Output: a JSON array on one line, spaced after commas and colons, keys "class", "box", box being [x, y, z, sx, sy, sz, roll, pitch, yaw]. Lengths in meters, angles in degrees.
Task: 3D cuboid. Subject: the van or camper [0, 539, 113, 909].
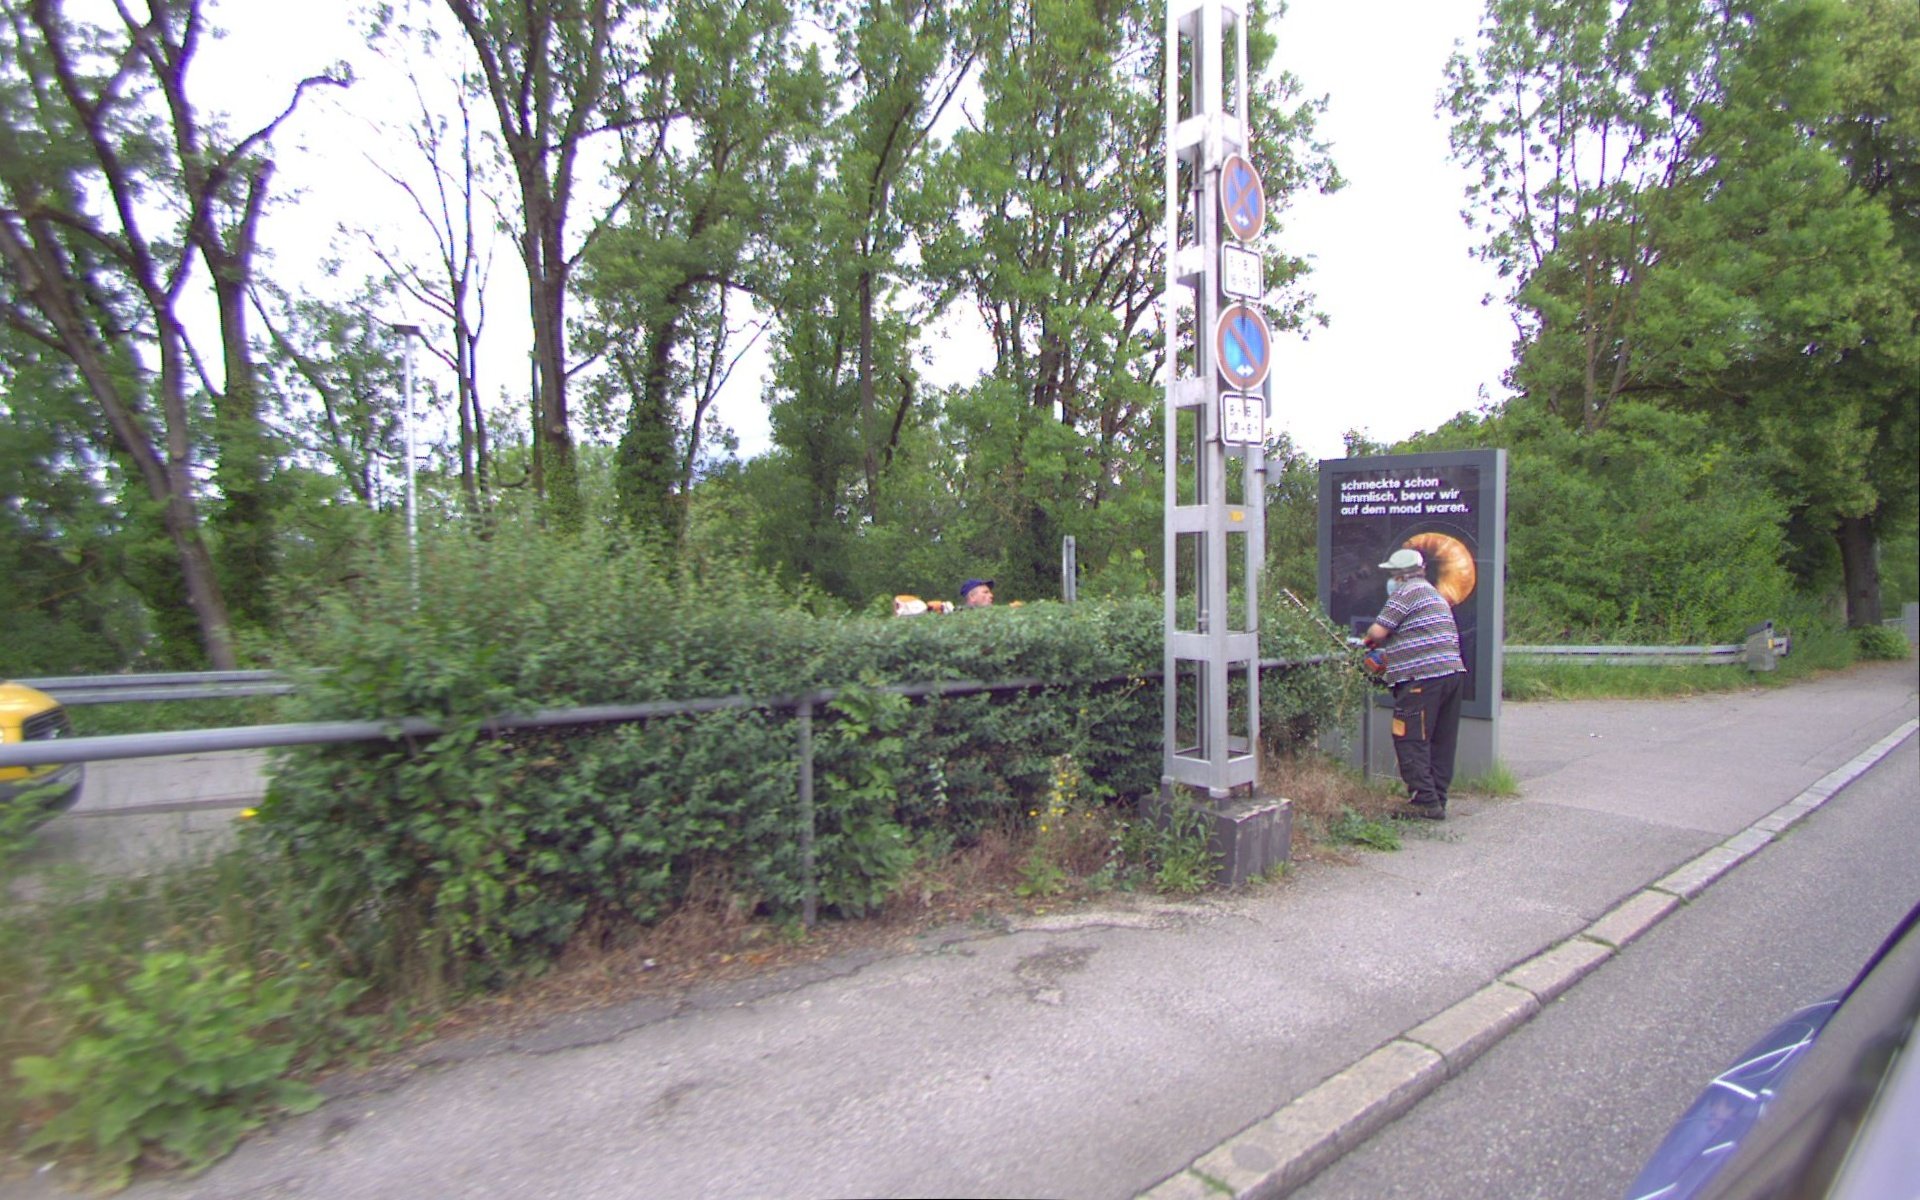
[{"class": "van or camper", "box": [-9.177, 0.728, 6.000, 6.055, 2.358, 2.227, 1, 3, -31]}]

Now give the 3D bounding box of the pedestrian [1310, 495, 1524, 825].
[{"class": "pedestrian", "box": [2.901, 0.329, 6.440, 0.931, 1.907, 0.815, 1, 2, -37]}]
